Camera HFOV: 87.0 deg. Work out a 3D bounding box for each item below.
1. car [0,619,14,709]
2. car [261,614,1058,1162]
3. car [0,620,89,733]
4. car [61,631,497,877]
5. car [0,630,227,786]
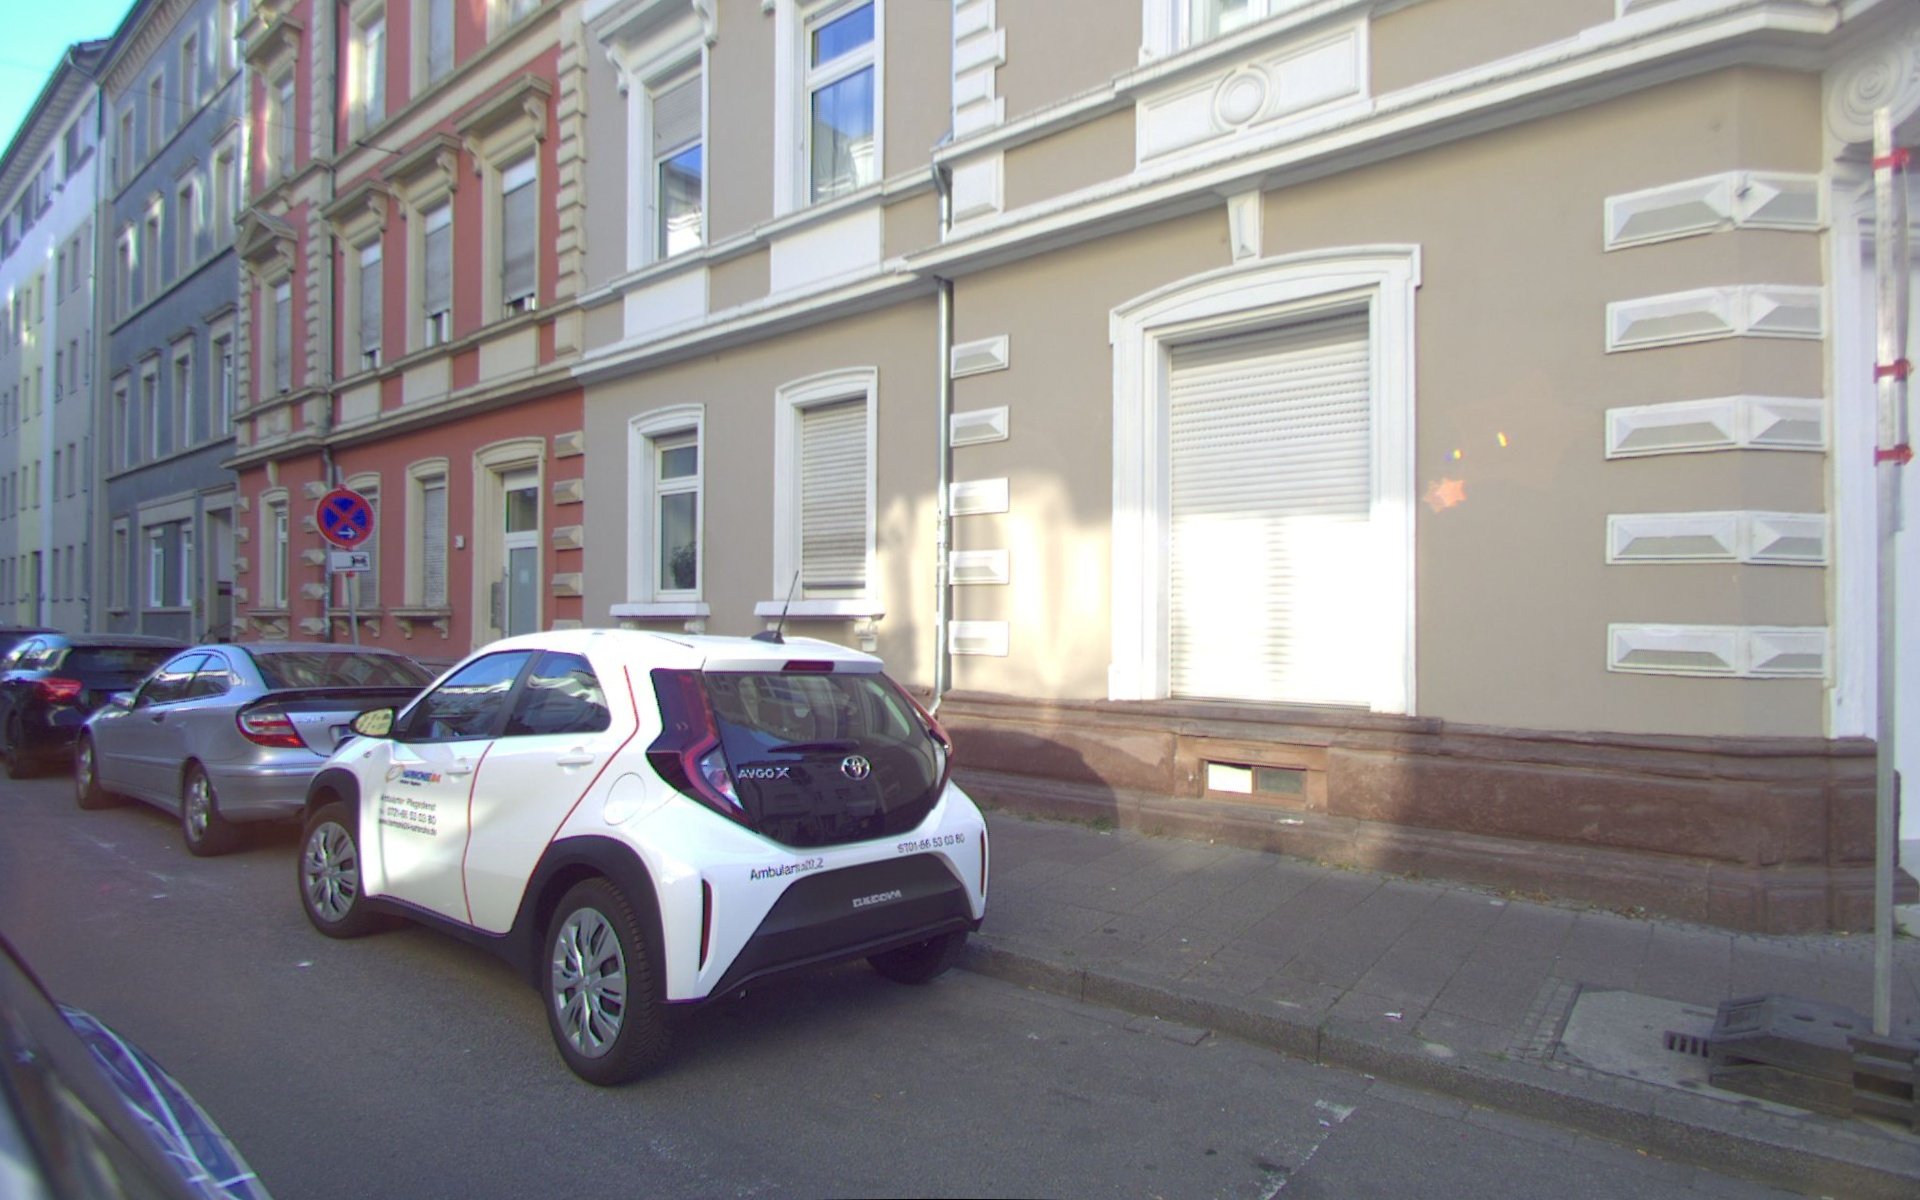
[{"bbox_3d":[-18.449,1.109,18.097,4.423,1.534,1.578,-1,-1,38],"label":"car"},{"bbox_3d":[-1.617,0.877,4.716,3.841,1.507,1.667,-1,-5,40],"label":"car"},{"bbox_3d":[-14.513,1.059,15.007,4.189,1.510,1.519,-1,-3,37],"label":"car"},{"bbox_3d":[-5.446,1.005,7.923,3.956,1.439,1.594,-1,-4,37],"label":"car"},{"bbox_3d":[-9.727,1.090,11.184,3.907,1.426,1.569,-1,-5,39],"label":"car"}]
